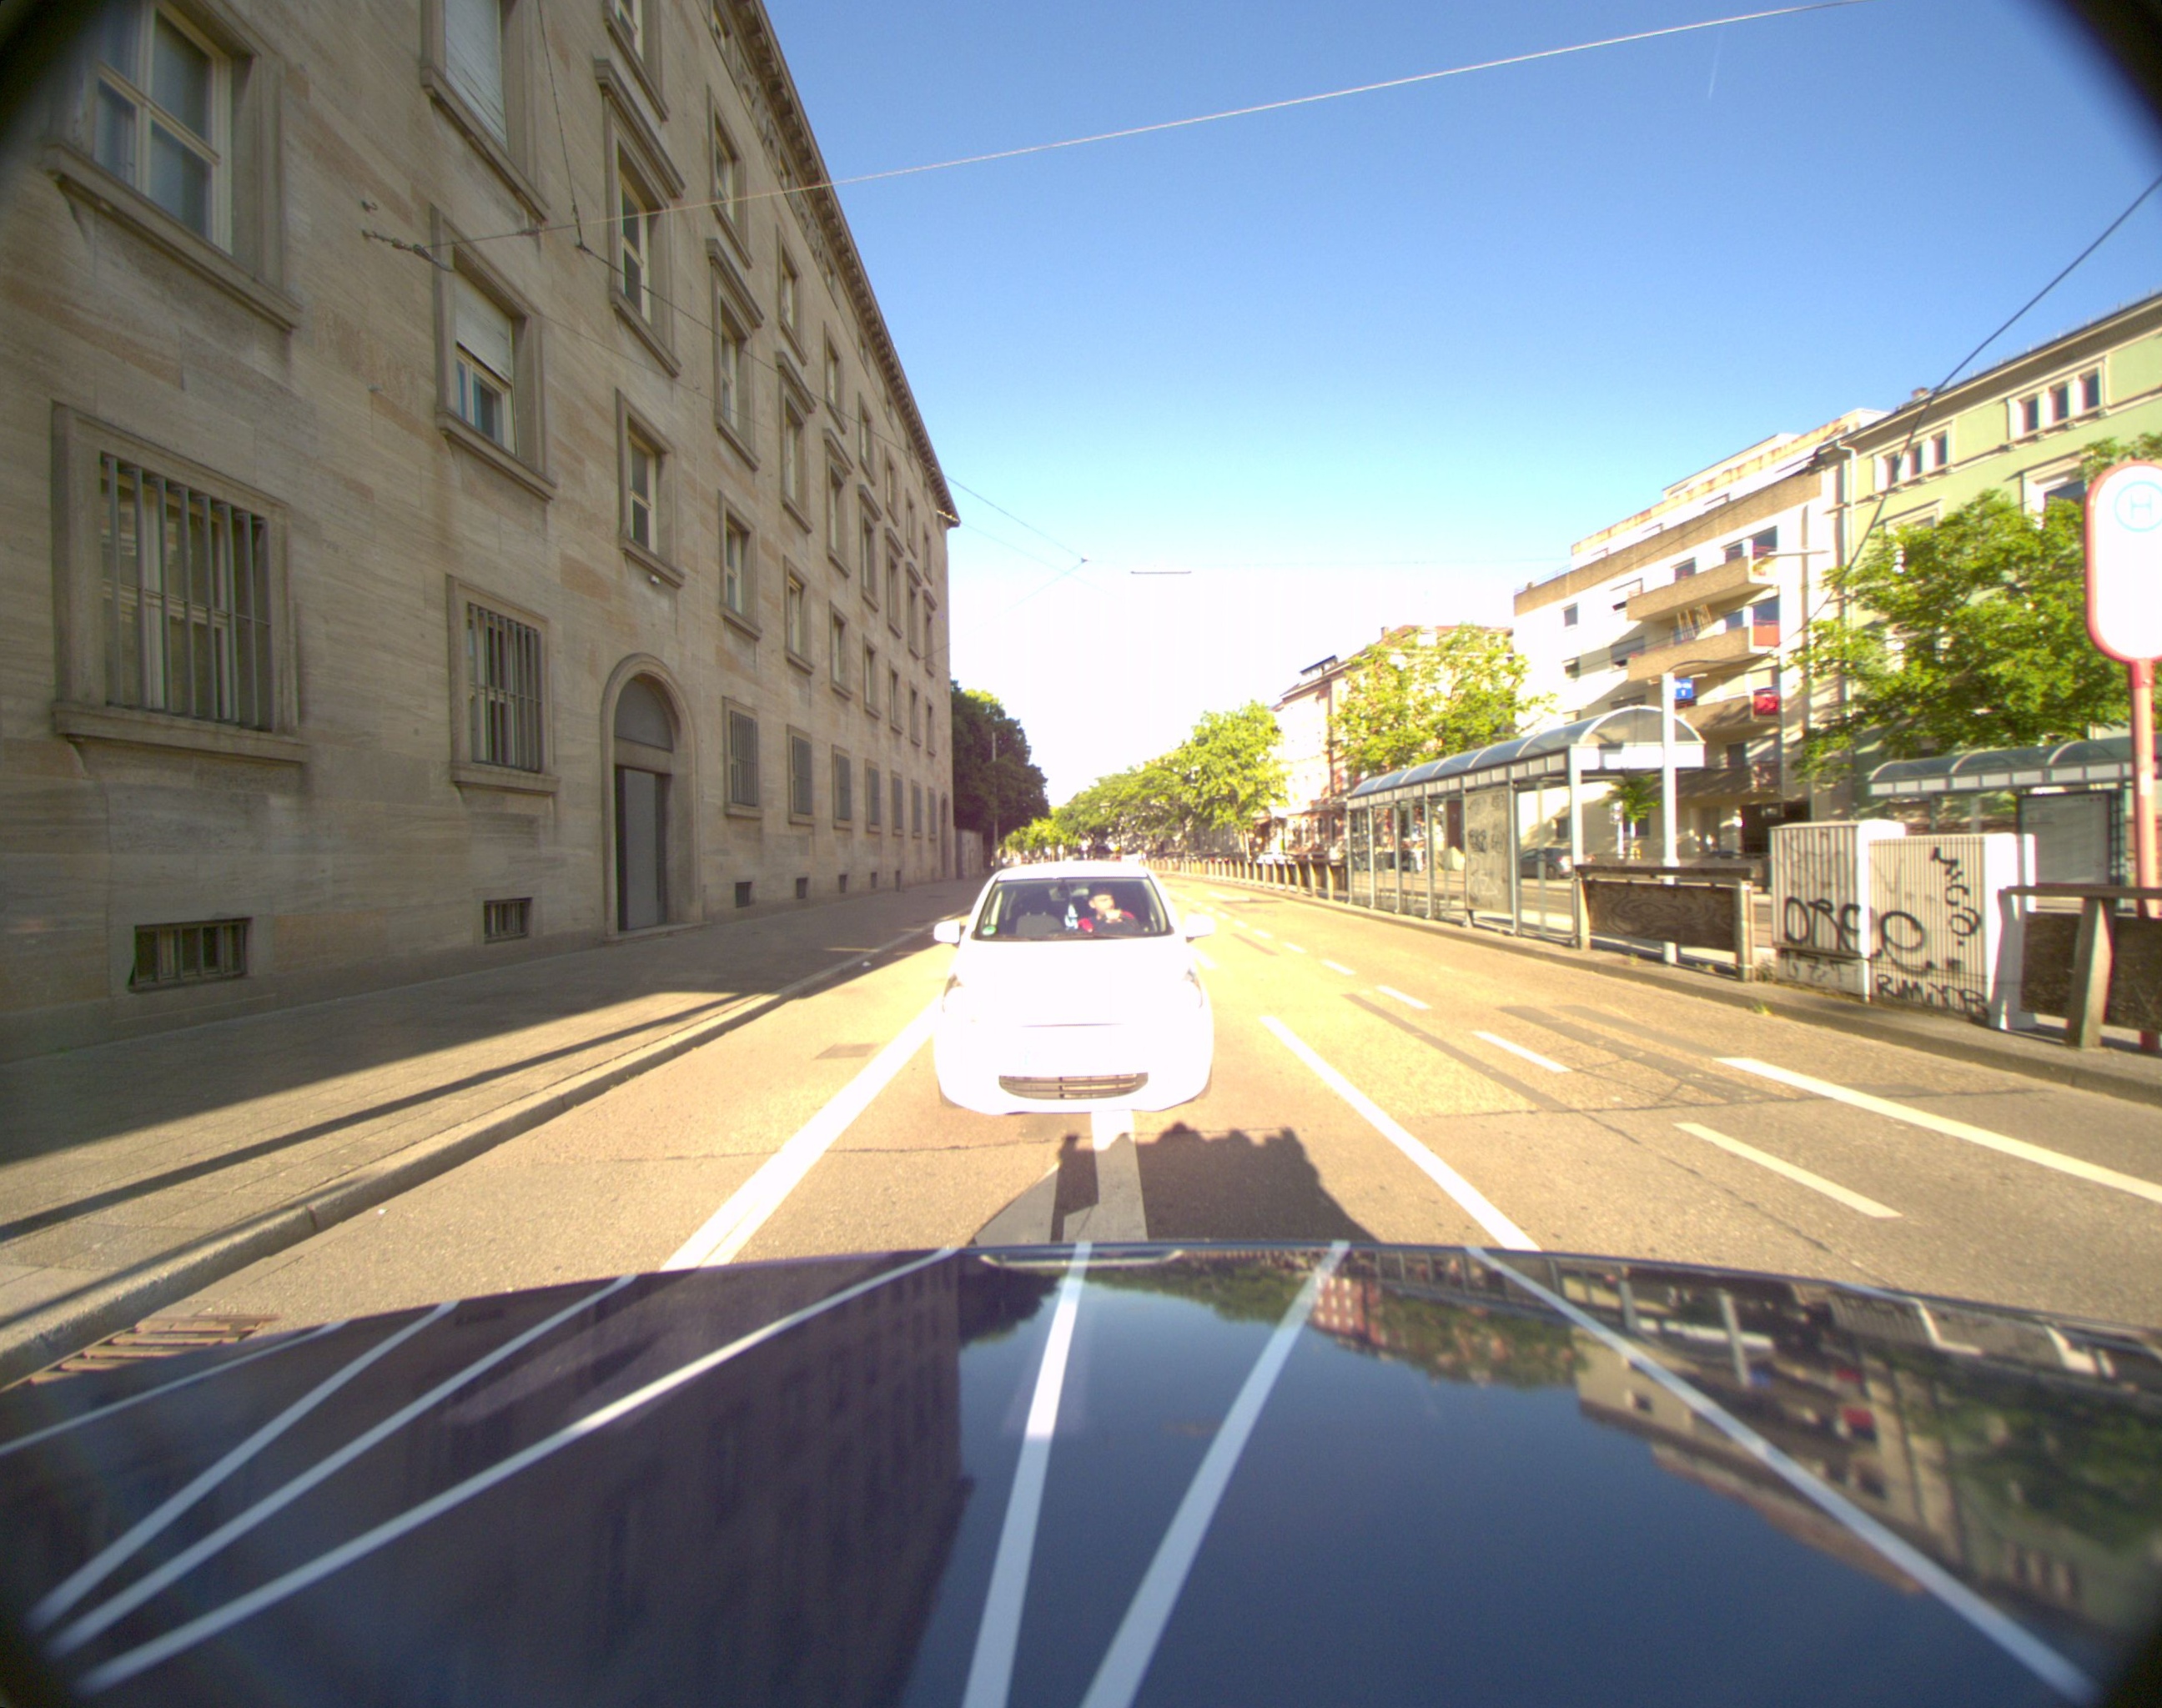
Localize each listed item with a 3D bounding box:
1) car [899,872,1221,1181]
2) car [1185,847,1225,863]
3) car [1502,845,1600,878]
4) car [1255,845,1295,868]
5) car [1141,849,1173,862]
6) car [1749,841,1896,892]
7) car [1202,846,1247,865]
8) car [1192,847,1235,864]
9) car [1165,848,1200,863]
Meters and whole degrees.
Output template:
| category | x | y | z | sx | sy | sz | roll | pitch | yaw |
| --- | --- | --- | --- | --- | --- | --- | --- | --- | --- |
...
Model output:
| category | x | y | z | sx | sy | sz | roll | pitch | yaw |
| --- | --- | --- | --- | --- | --- | --- | --- | --- | --- |
| car | -0.081 | 0.925 | 5.693 | 1.612 | 1.450 | 3.667 | -1 | 0 | 1 |
| car | 13.157 | 0.095 | 80.530 | 3.996 | 1.674 | 2.000 | -1 | 0 | 4 |
| car | 20.844 | 0.322 | 33.835 | 1.615 | 1.387 | 3.516 | -1 | 0 | -19 |
| car | 16.304 | 0.172 | 63.678 | 1.994 | 1.713 | 4.007 | 0 | 2 | 34 |
| car | 9.564 | 0.141 | 95.716 | 3.864 | 1.583 | 2.001 | -1 | 0 | 4 |
| car | 23.933 | 0.374 | 24.551 | 3.796 | 1.526 | 1.772 | -1 | 0 | -17 |
| car | 13.636 | 0.138 | 72.593 | 3.996 | 1.674 | 2.000 | -1 | 0 | 4 |
| car | 13.350 | 0.123 | 76.727 | 3.996 | 1.674 | 2.000 | -1 | 0 | 4 |
| car | 11.436 | 0.154 | 86.090 | 3.864 | 1.583 | 2.001 | -1 | 0 | 5 |
